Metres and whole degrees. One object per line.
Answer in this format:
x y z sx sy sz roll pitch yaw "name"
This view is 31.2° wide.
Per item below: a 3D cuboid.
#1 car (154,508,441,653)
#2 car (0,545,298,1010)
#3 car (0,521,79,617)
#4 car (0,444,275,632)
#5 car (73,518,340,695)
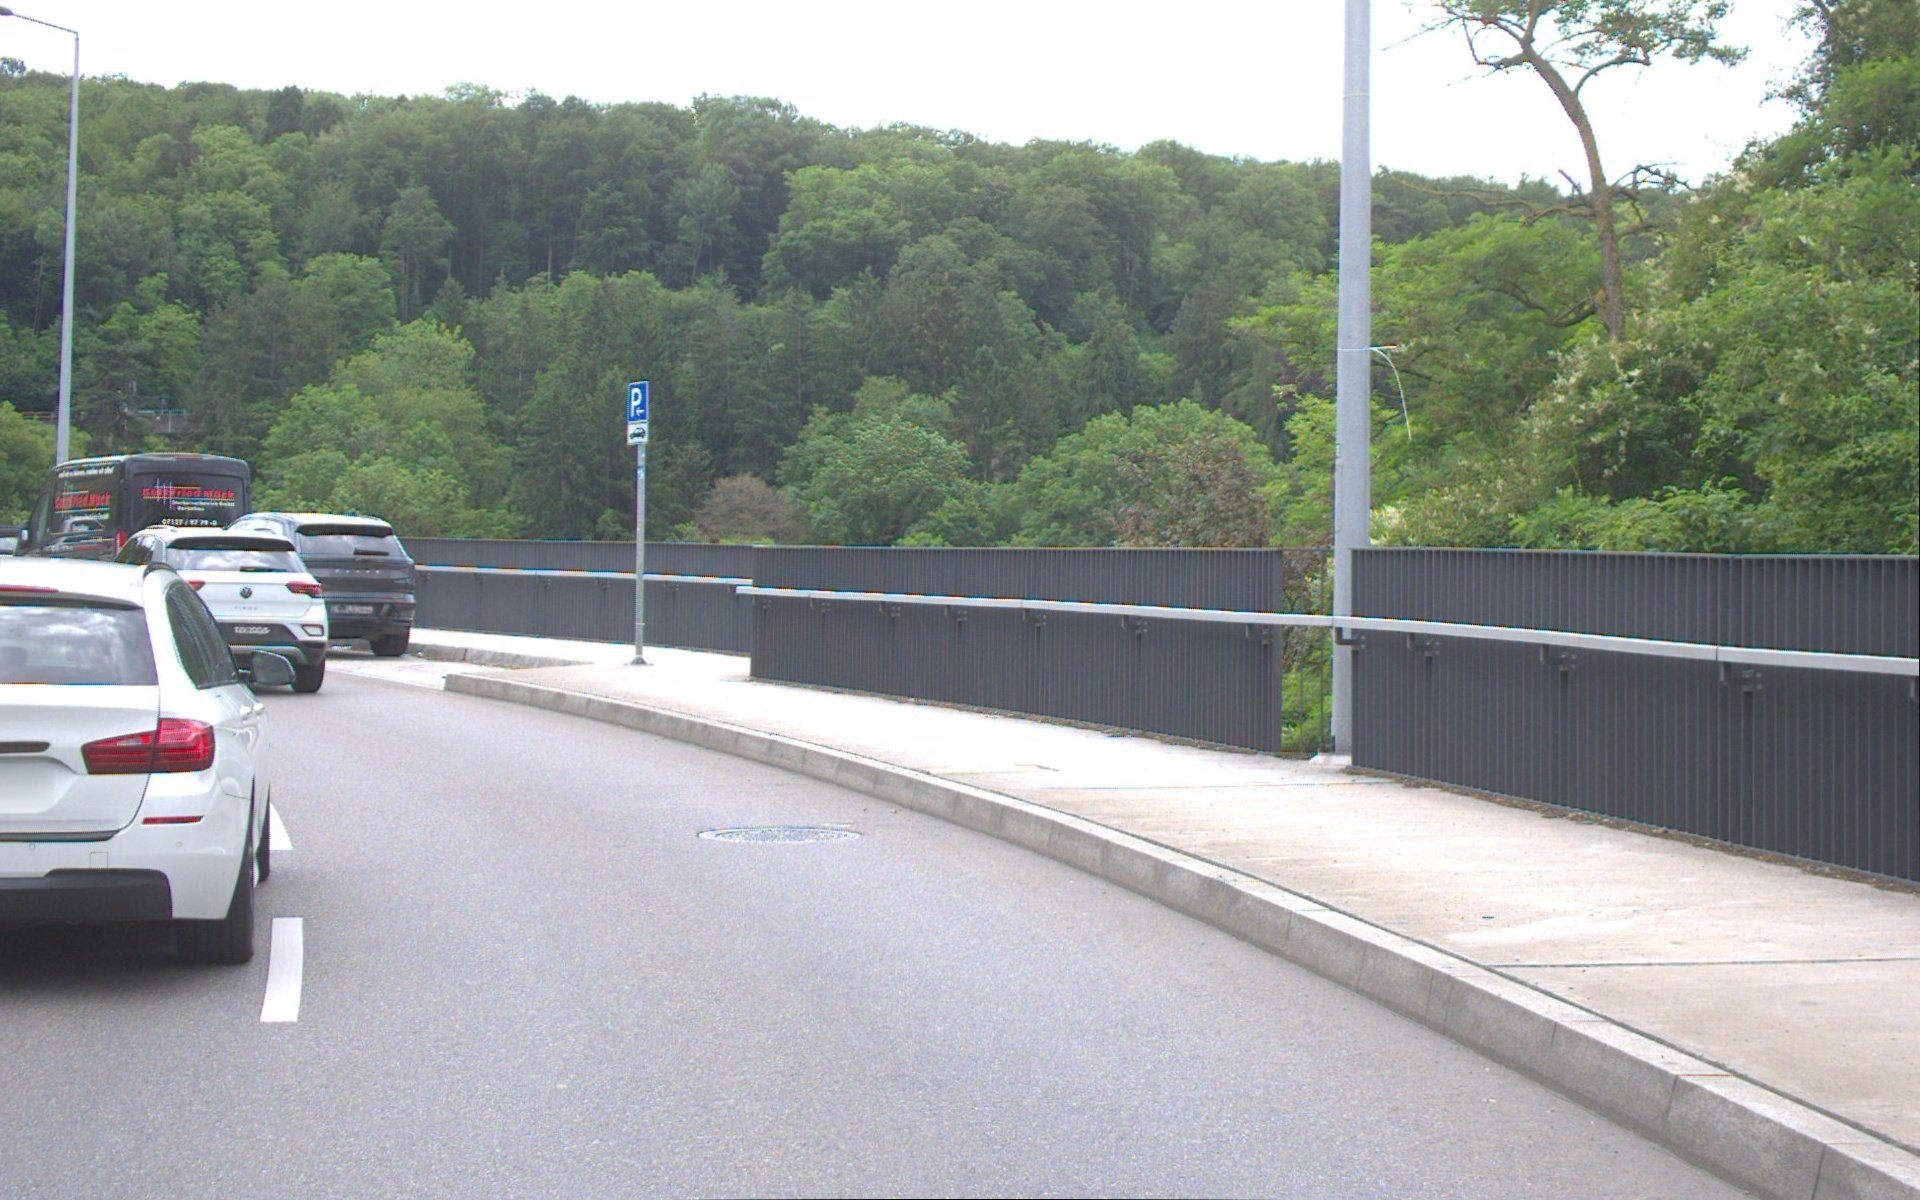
-8.407 -0.268 43.246 1.993 1.712 5.049 0 1 -30 "car"
-3.610 0.542 13.330 1.827 1.454 4.487 0 1 -8 "car"
-15.440 -0.536 53.678 1.715 1.426 3.849 1 1 -40 "car"
-11.893 -0.945 49.016 2.167 2.513 5.771 -1 2 -33 "car"
-7.418 0.028 33.588 1.827 1.600 4.001 -1 1 -23 "car"
